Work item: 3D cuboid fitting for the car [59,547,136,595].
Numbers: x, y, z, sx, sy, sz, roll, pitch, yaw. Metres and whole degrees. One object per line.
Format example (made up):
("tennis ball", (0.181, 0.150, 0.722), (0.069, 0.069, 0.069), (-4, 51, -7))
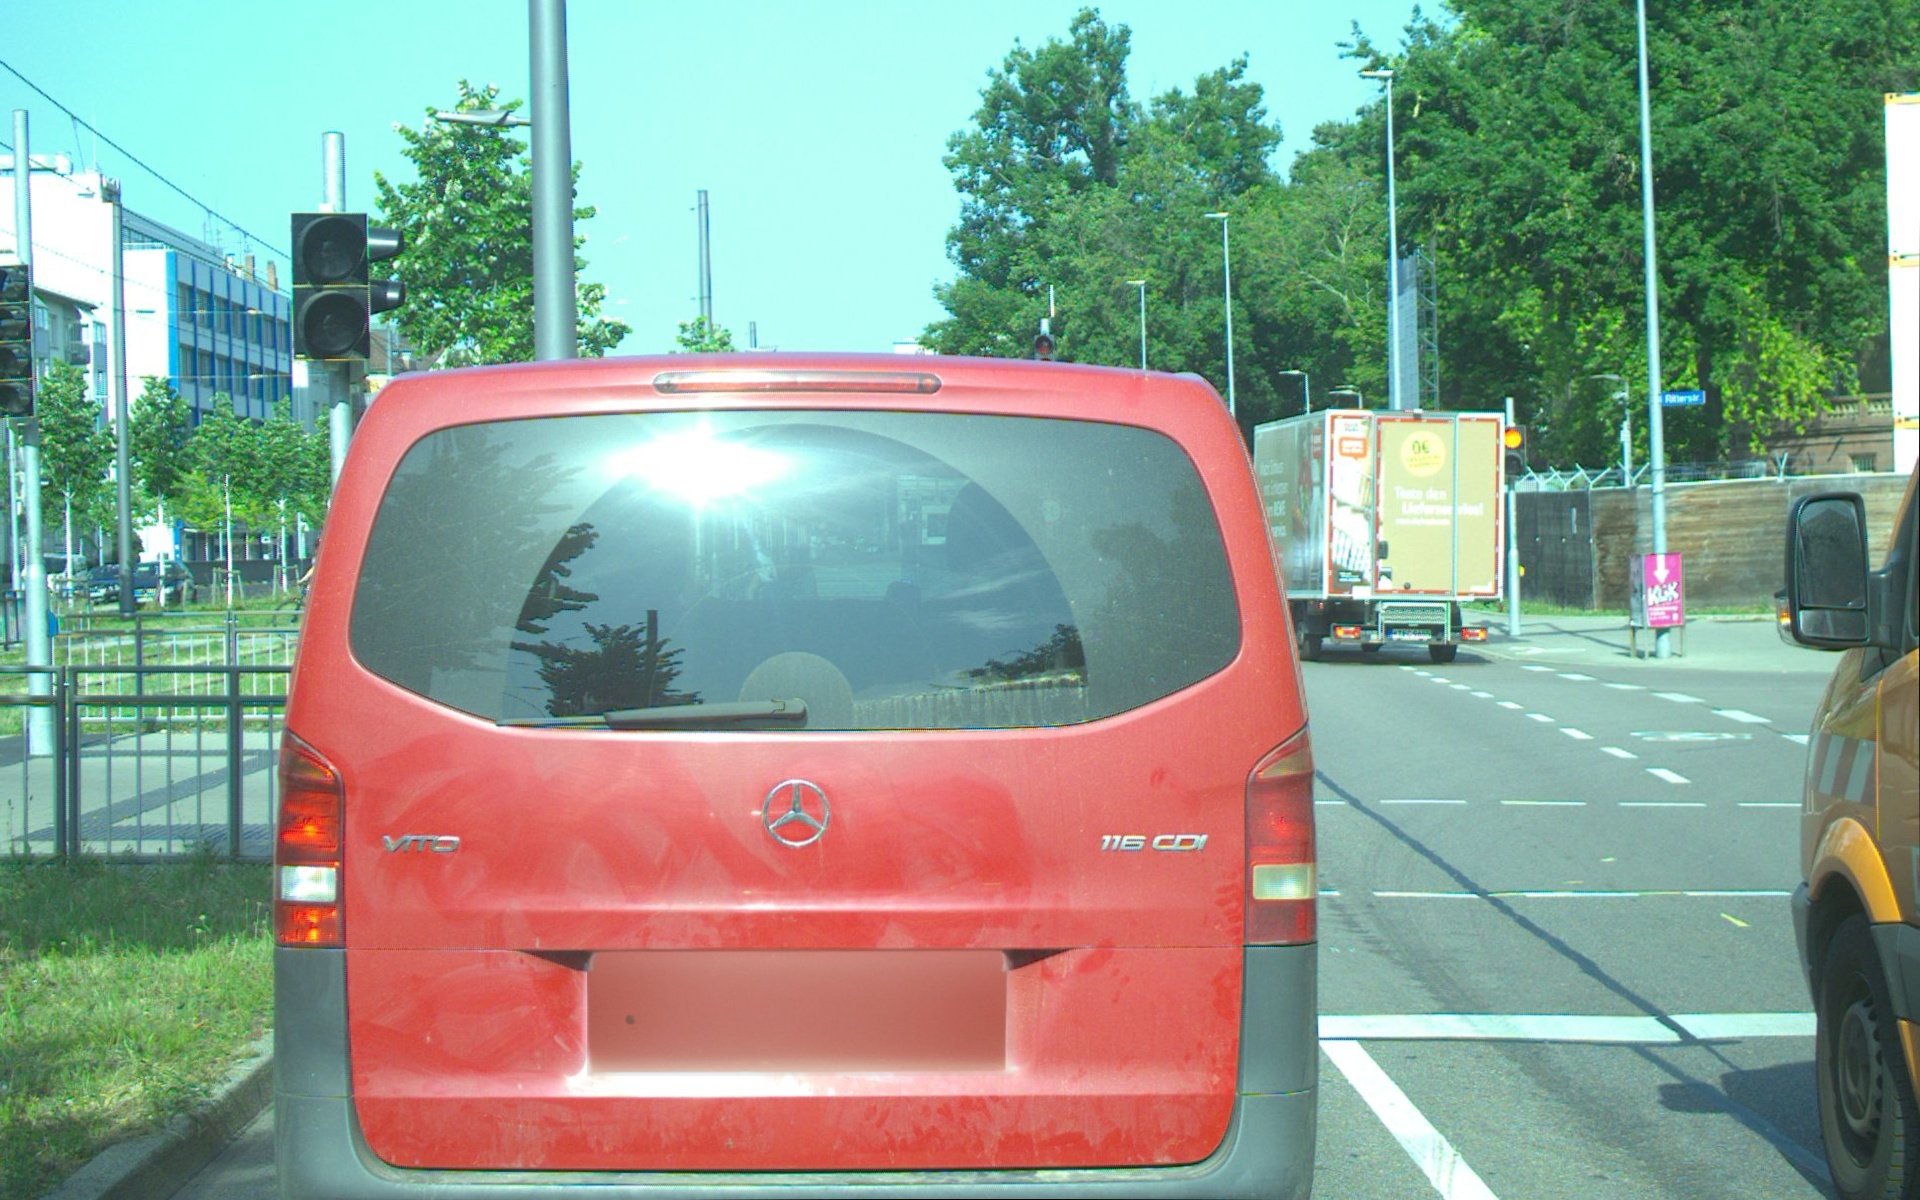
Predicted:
("car", (-31.046, -1.062, 123.819), (1.742, 1.668, 4.000), (-1, 1, -1))

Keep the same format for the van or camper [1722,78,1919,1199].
("van or camper", (2.921, 0.207, 5.457), (1.986, 2.463, 6.061), (0, 0, -1))

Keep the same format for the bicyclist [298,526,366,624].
("bicyclist", (-10.669, -0.431, 58.407), (0.890, 1.623, 0.892), (-1, 1, 5))

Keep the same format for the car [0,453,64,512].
("car", (-36.028, -4.476, 131.800), (2.249, 2.007, 5.264), (1, -1, -3))

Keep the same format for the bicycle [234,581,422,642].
("bicycle", (-10.737, 0.197, 58.428), (2.988, 0.962, 0.900), (-1, 1, 6))

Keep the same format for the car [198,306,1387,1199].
("car", (-0.295, 0.426, 7.536), (1.901, 1.853, 4.000), (1, 1, -1))

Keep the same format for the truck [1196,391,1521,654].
("truck", (4.941, -0.949, 44.213), (2.501, 3.050, 7.822), (1, 1, -6))

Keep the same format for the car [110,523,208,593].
("car", (-24.686, -1.305, 106.083), (1.993, 2.007, 4.000), (-3, 1, -1))
